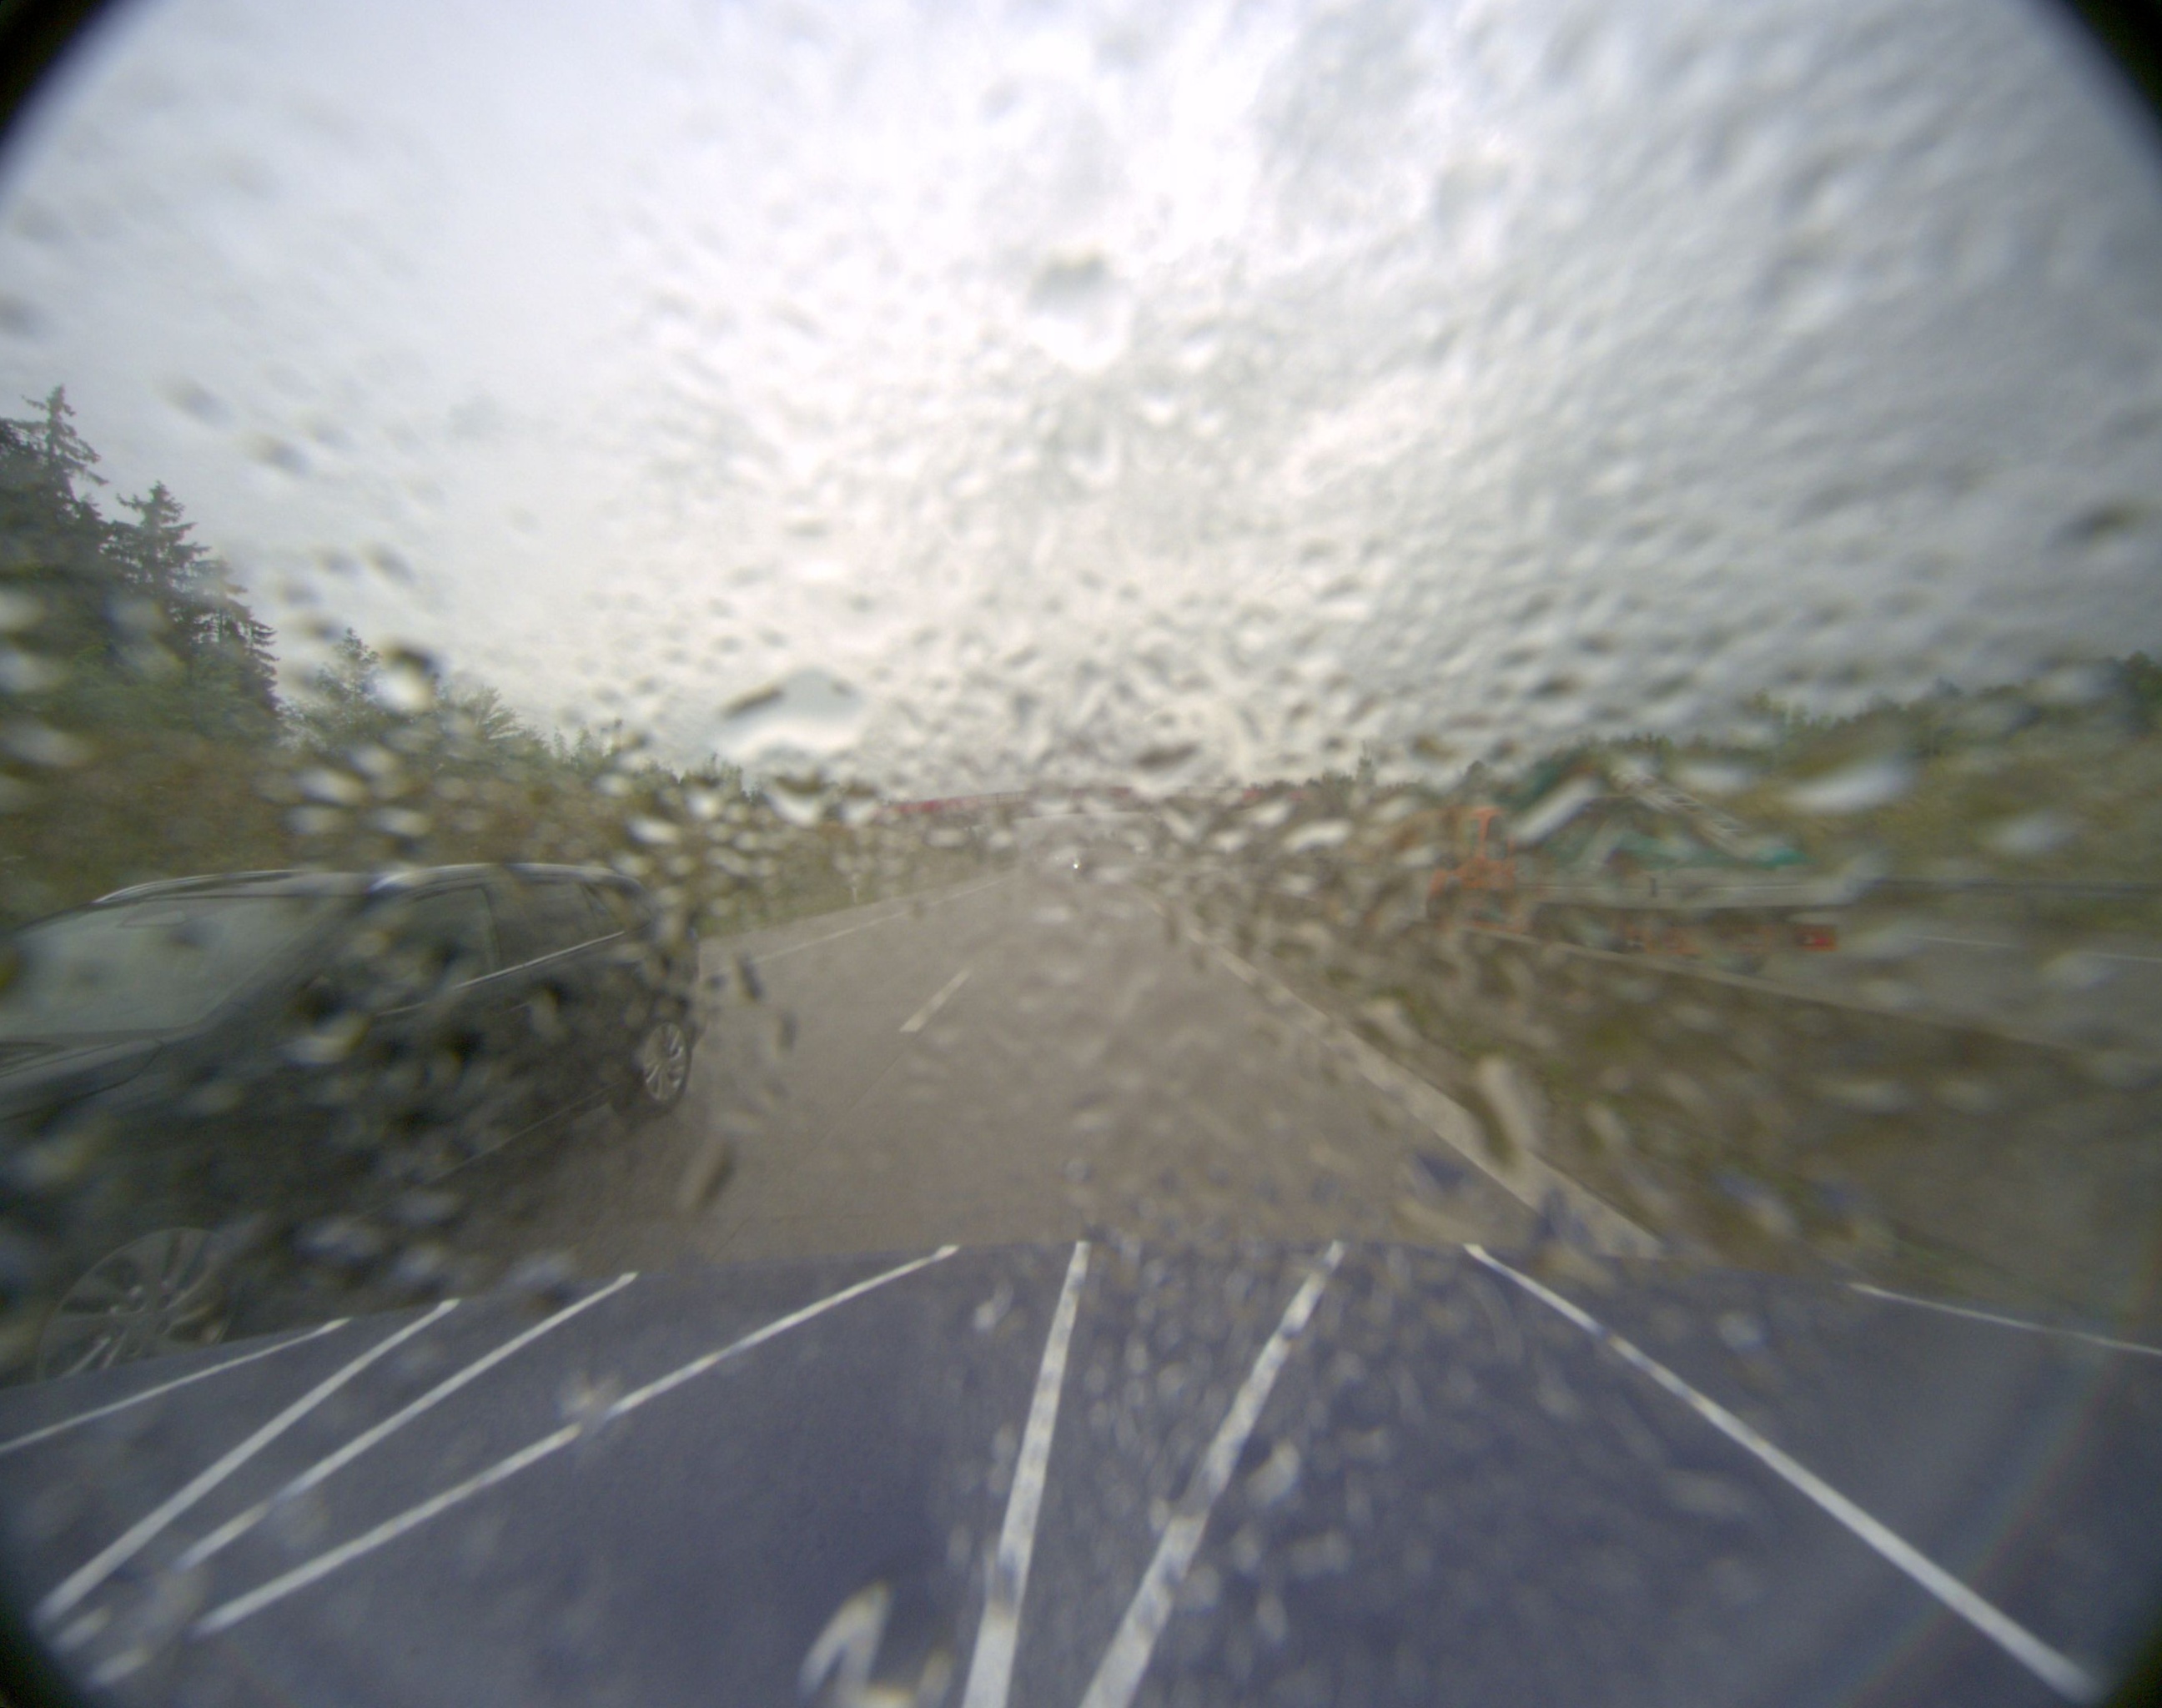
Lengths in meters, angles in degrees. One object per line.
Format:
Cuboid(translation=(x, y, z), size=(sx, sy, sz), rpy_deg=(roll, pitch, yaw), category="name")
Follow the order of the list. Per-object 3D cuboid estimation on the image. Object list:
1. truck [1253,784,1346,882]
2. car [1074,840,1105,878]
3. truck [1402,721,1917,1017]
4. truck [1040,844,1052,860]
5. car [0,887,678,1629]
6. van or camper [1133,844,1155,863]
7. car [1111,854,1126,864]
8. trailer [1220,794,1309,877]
Cuboid(translation=(11.079, -1.001, 39.162), size=(2.828, 4.494, 6.624), rpy_deg=(-2, 0, 1), category="truck")
Cuboid(translation=(0.529, 0.364, 45.829), size=(1.795, 2.113, 4.526), rpy_deg=(0, -2, 1), category="car")
Cuboid(translation=(6.823, 0.133, 10.333), size=(2.338, 2.766, 6.161), rpy_deg=(-1, 0, 1), category="truck")
Cuboid(translation=(-9.533, -0.481, 207.439), size=(2.768, 4.062, 5.435), rpy_deg=(1, -2, -8), category="truck")
Cuboid(translation=(-3.431, 1.016, 2.790), size=(1.899, 1.567, 3.632), rpy_deg=(-2, 0, 0), category="car")
Cuboid(translation=(9.392, -0.003, 114.592), size=(2.450, 2.579, 7.929), rpy_deg=(-3, -1, 0), category="van or camper")
Cuboid(translation=(5.523, 0.752, 113.314), size=(1.999, 1.303, 4.510), rpy_deg=(-1, 0, 0), category="car")
Cuboid(translation=(11.158, -1.043, 47.548), size=(2.855, 4.494, 11.338), rpy_deg=(-2, 0, 1), category="trailer")
